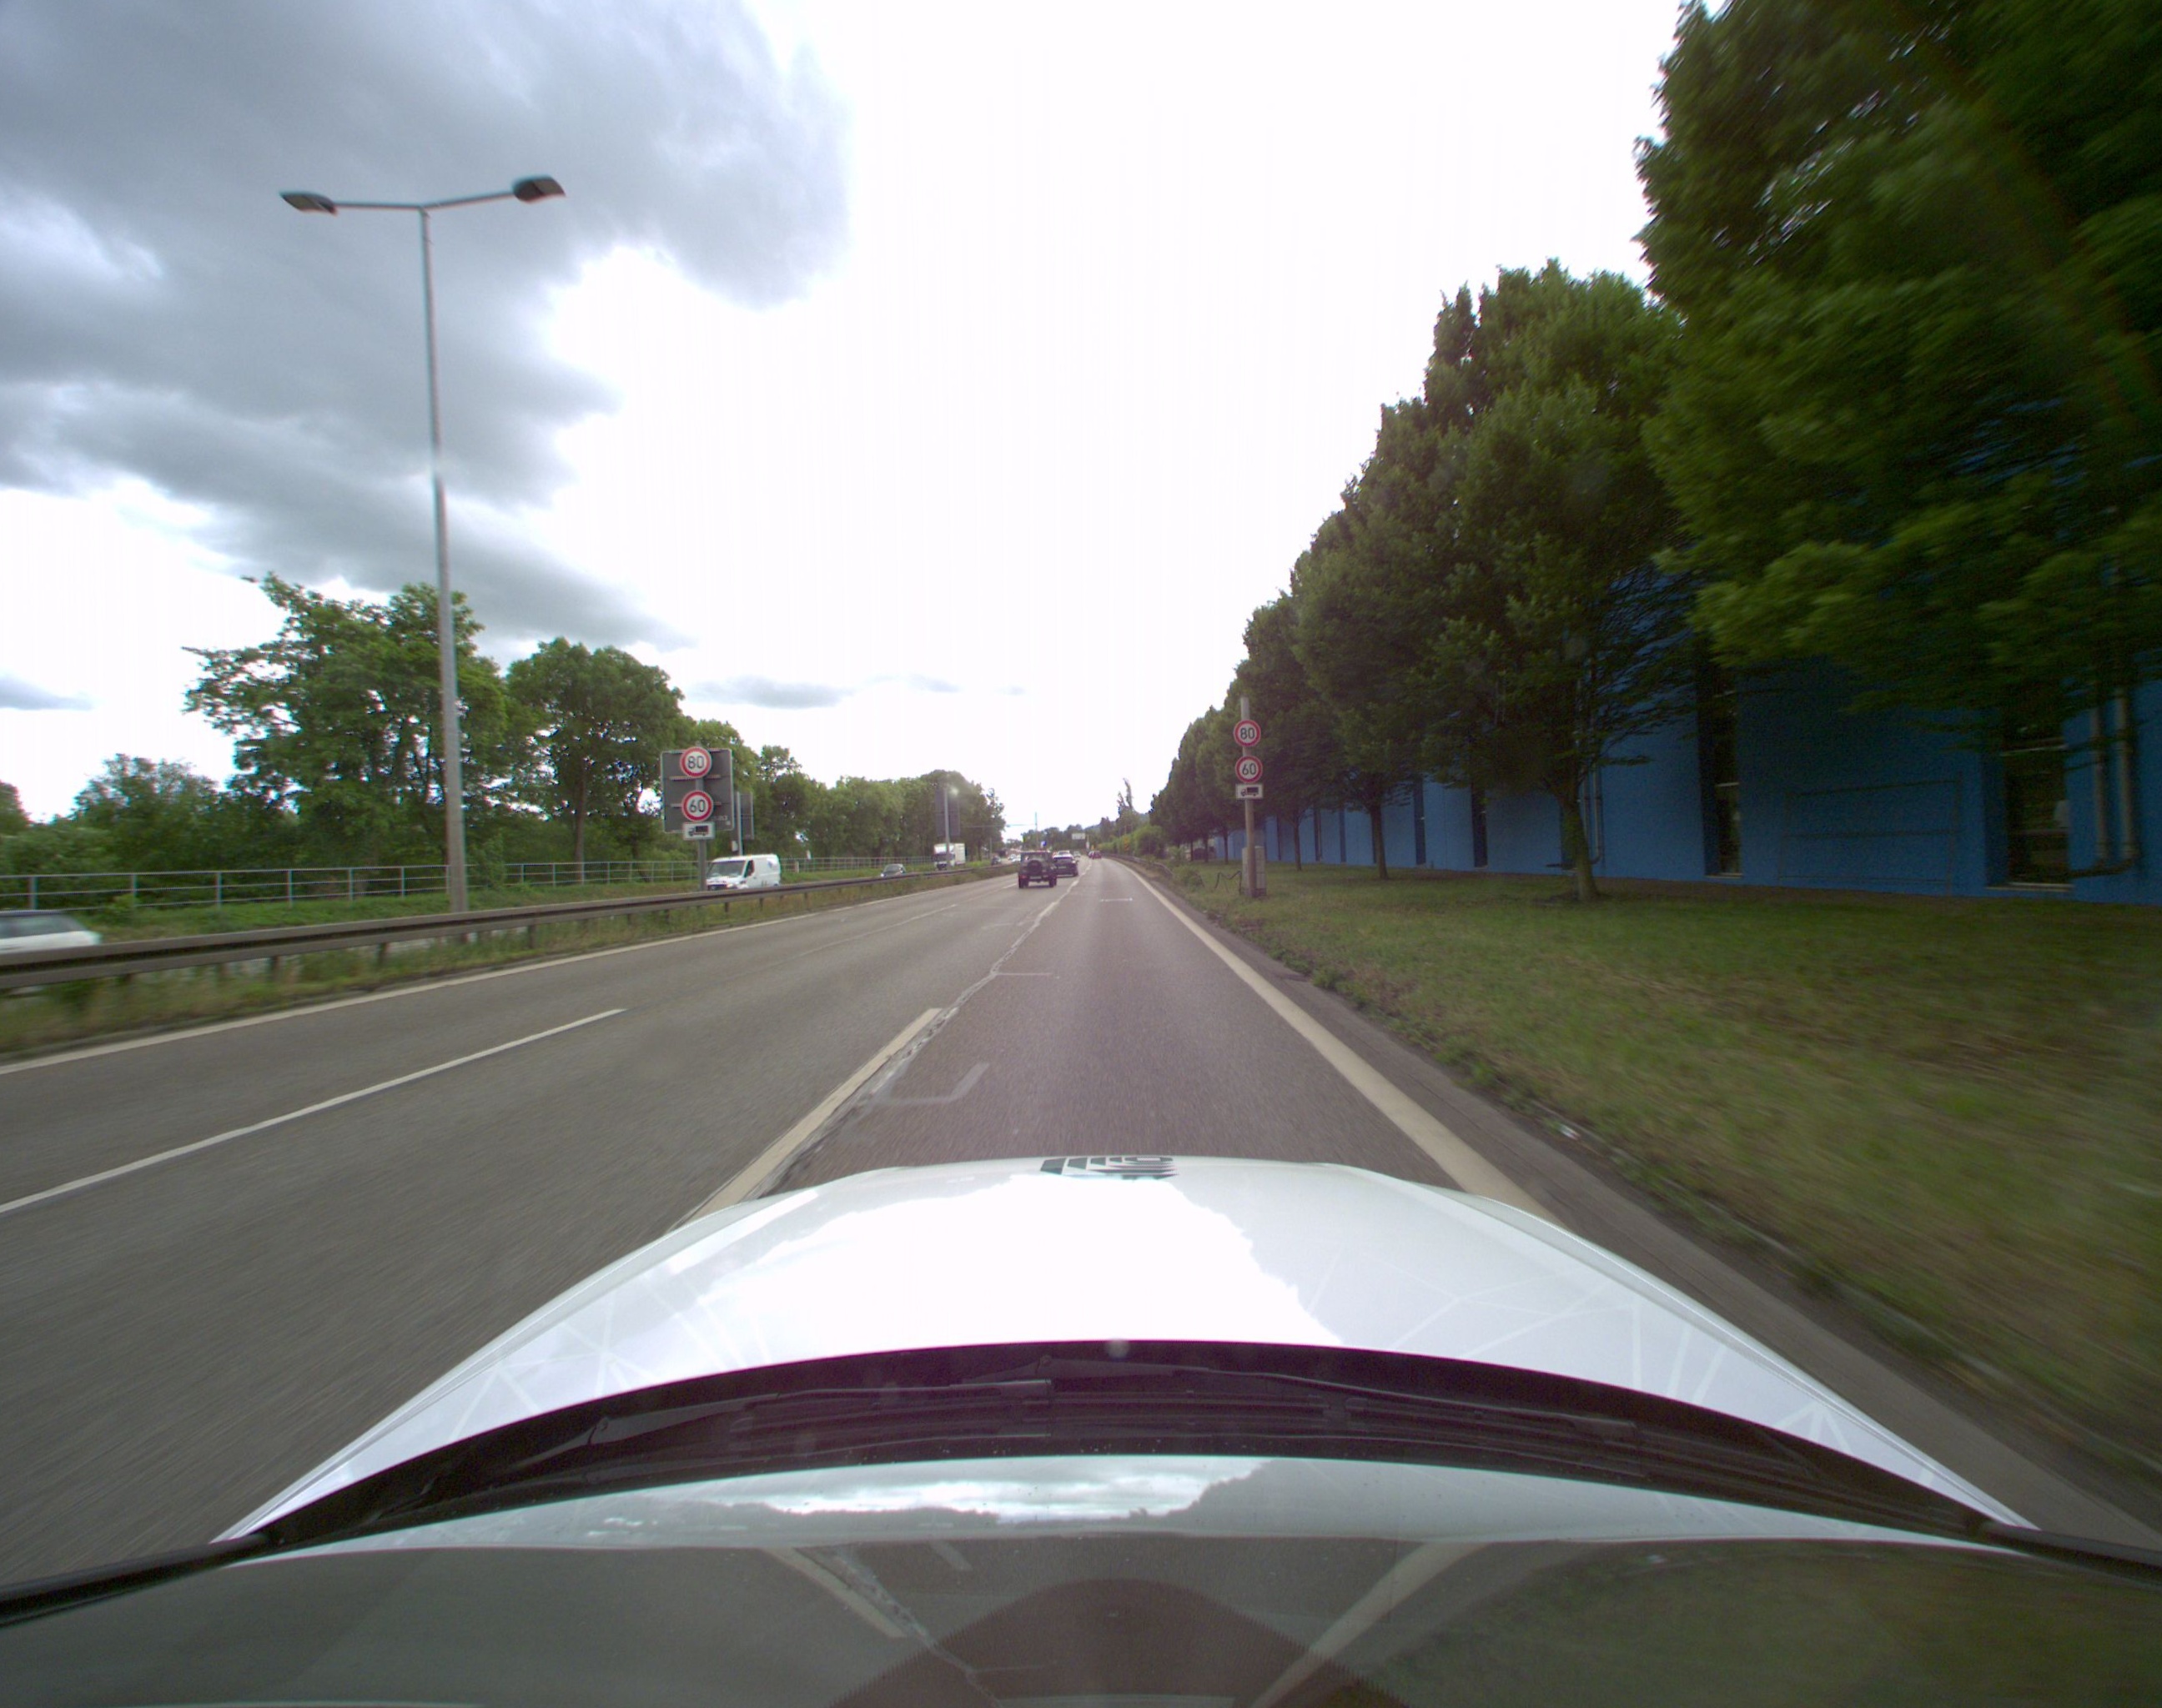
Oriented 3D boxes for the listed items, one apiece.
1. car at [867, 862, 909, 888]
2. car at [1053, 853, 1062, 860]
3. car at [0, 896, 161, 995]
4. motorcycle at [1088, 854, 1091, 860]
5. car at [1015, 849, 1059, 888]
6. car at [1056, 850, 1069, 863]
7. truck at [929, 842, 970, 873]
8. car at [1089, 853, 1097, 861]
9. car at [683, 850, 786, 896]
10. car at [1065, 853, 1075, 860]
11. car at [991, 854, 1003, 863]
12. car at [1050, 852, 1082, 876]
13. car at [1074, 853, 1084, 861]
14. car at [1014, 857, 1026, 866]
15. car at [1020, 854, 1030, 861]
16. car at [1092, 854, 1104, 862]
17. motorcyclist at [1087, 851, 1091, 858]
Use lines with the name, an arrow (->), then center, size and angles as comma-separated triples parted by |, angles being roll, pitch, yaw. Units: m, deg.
car -> -14.605, 1.556, 61.917 | 1.870, 1.724, 4.151 | -2, 0, 4
car -> -7.194, 0.681, 244.201 | 2.013, 1.934, 4.885 | -4, 0, -9
car -> -17.530, 1.507, 12.720 | 1.653, 1.398, 3.991 | -2, 0, 2
motorcycle -> 2.061, 0.755, 202.659 | 0.789, 1.219, 2.329 | -2, 0, 0
car -> -2.019, 0.646, 38.702 | 1.691, 1.686, 4.002 | -2, 0, 2
car -> -2.645, 0.376, 116.933 | 1.692, 1.742, 4.000 | -3, 0, 1
truck -> -16.416, 0.376, 102.439 | 2.876, 3.579, 9.597 | -3, 0, 4
car -> 2.662, 0.619, 177.419 | 1.692, 1.742, 4.393 | -3, 0, 1
car -> -16.419, 0.858, 38.978 | 2.216, 1.948, 5.480 | -3, 0, 4
car -> -3.192, 0.754, 228.010 | 2.014, 1.934, 4.883 | -4, 0, -10
car -> -15.939, 0.880, 154.848 | 1.720, 1.605, 4.044 | -5, 0, 2
car -> -0.921, 0.655, 53.159 | 1.838, 1.423, 4.901 | -2, 0, 1
car -> -0.547, 0.778, 211.127 | 2.010, 1.934, 4.891 | -4, 0, -5
car -> -12.114, 1.461, 161.889 | 1.691, 1.605, 4.540 | -5, 0, 2
car -> -13.929, 0.860, 203.379 | 1.860, 1.674, 4.719 | -4, 0, 1
car -> 3.173, 0.803, 156.009 | 1.969, 1.423, 4.897 | -4, 0, -1
motorcyclist -> 2.042, 0.065, 202.659 | 0.789, 1.760, 0.922 | -2, 0, -1
